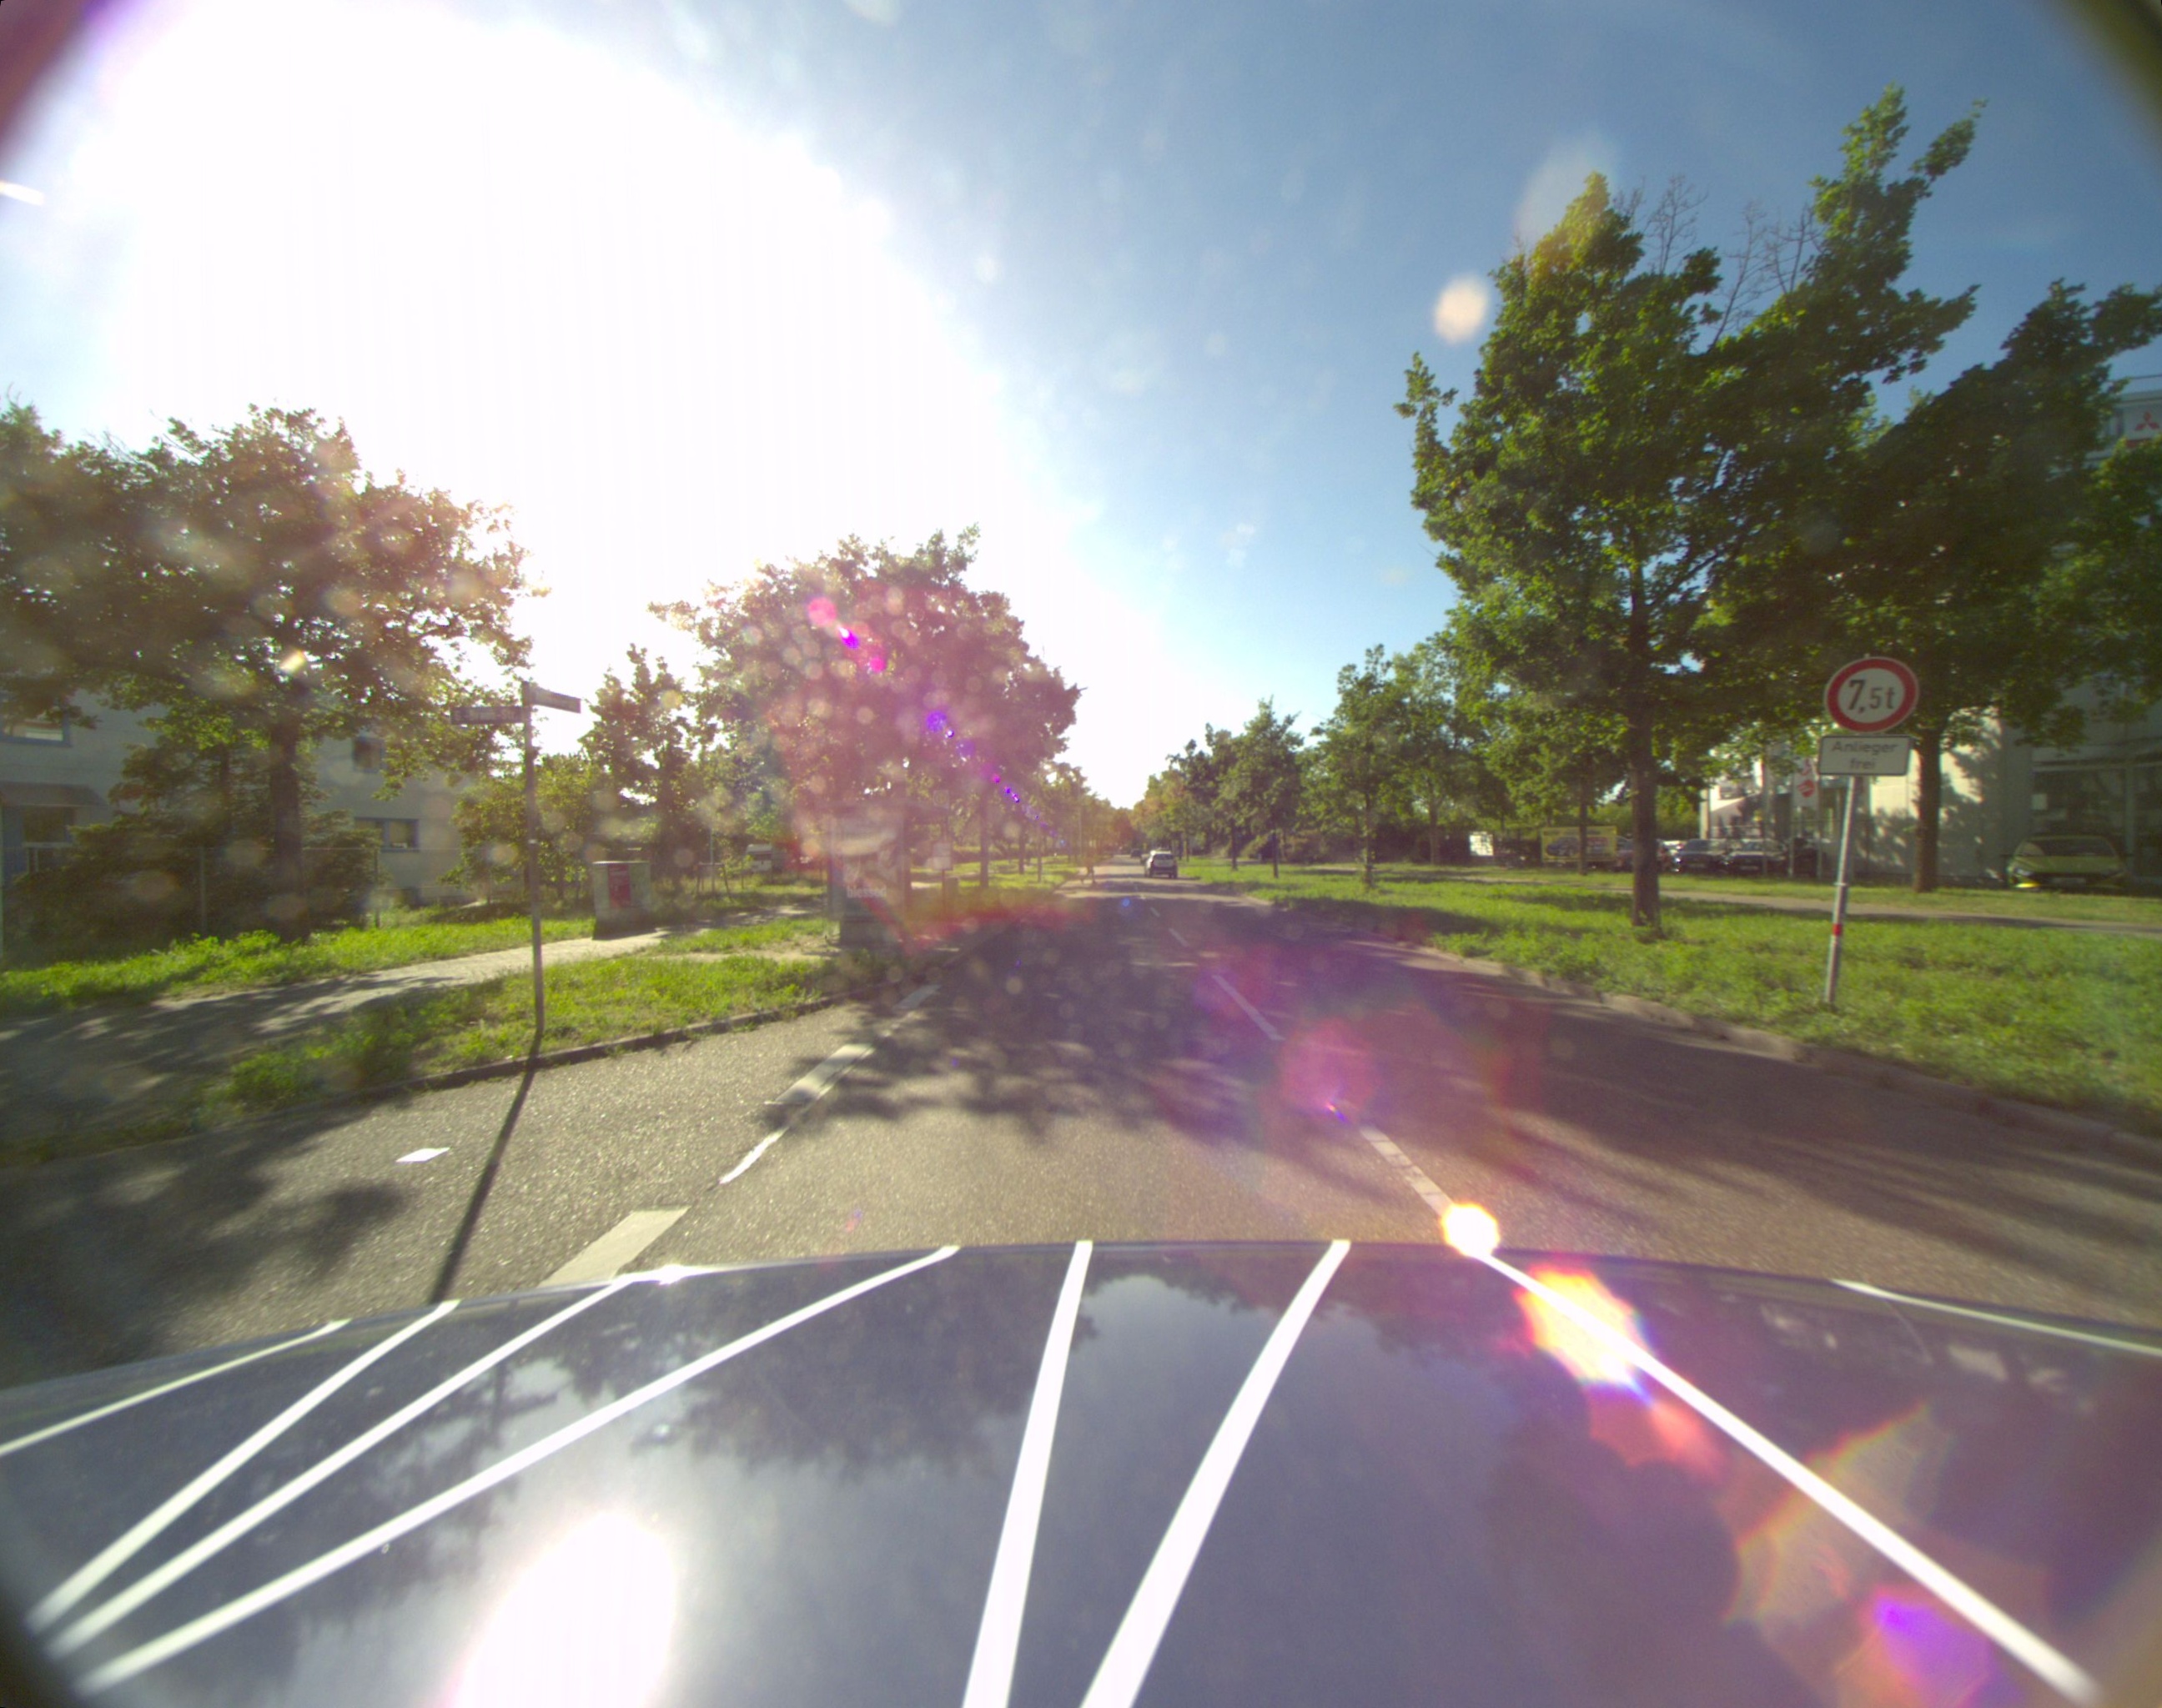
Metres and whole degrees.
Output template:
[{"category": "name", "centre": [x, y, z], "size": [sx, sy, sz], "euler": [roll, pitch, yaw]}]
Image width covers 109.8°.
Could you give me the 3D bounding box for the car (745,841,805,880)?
[{"category": "car", "centre": [-22.084, 0.441, 55.053], "size": [2.165, 2.628, 4.851], "euler": [-1, 1, 3]}]

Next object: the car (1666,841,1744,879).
[{"category": "car", "centre": [25.643, 0.208, 31.168], "size": [4.007, 1.440, 1.796], "euler": [-2, 1, -41]}]

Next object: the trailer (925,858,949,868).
[{"category": "trailer", "centre": [-14.755, 0.903, 77.918], "size": [1.581, 0.864, 2.055], "euler": [-1, 5, 15]}]

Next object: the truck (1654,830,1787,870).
[{"category": "truck", "centre": [32.175, -0.206, 38.359], "size": [4.682, 1.773, 2.027], "euler": [-3, 0, 13]}]

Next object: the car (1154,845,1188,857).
[{"category": "car", "centre": [12.955, -0.402, 110.026], "size": [4.638, 1.549, 2.191], "euler": [-3, 0, 1]}]

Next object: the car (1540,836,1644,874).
[{"category": "car", "centre": [26.682, 0.050, 39.819], "size": [4.023, 1.773, 2.027], "euler": [-3, 0, 13]}]

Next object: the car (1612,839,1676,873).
[{"category": "car", "centre": [25.809, 0.064, 34.806], "size": [1.796, 1.440, 4.008], "euler": [0, 1, 45]}]

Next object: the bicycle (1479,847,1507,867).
[{"category": "bicycle", "centre": [23.663, 0.170, 43.685], "size": [0.641, 1.081, 1.891], "euler": [-1, 1, 2]}]

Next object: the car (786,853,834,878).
[{"category": "car", "centre": [-19.442, 0.787, 54.672], "size": [2.010, 1.654, 3.597], "euler": [-1, 1, 3]}]

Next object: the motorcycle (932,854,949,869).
[{"category": "motorcycle", "centre": [-14.039, 0.718, 75.932], "size": [0.663, 1.225, 2.407], "euler": [-1, 5, 14]}]

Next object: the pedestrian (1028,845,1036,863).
[{"category": "pedestrian", "centre": [-5.006, 0.032, 77.585], "size": [0.727, 1.802, 0.867], "euler": [-1, 1, 2]}]

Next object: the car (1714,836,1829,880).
[{"category": "car", "centre": [25.388, 0.141, 27.913], "size": [4.005, 1.502, 1.797], "euler": [-1, 0, -27]}]

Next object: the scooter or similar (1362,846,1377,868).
[{"category": "scooter or similar", "centre": [16.987, 0.145, 44.717], "size": [0.396, 1.272, 1.441], "euler": [-1, 1, 3]}]

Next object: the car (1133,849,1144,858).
[{"category": "car", "centre": [9.982, -0.144, 131.706], "size": [1.809, 1.528, 4.495], "euler": [0, 0, 2]}]

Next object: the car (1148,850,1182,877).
[{"category": "car", "centre": [4.779, 0.511, 43.858], "size": [1.748, 1.456, 4.428], "euler": [0, 0, 4]}]

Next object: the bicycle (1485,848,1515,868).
[{"category": "bicycle", "centre": [23.298, 0.218, 42.292], "size": [0.641, 1.081, 1.891], "euler": [-1, 1, 2]}]

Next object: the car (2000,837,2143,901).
[{"category": "car", "centre": [24.270, 0.302, 18.752], "size": [3.961, 1.393, 1.994], "euler": [-2, 1, -39]}]

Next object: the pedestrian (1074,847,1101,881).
[{"category": "pedestrian", "centre": [0.344, 0.503, 37.735], "size": [1.020, 1.642, 1.101], "euler": [-1, 1, 18]}]

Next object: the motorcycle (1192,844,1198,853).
[{"category": "motorcycle", "centre": [19.569, -0.955, 130.315], "size": [0.739, 1.424, 1.991], "euler": [-5, 0, 5]}]

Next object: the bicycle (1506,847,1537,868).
[{"category": "bicycle", "centre": [24.284, 0.177, 41.947], "size": [0.641, 1.081, 1.891], "euler": [-1, 1, 2]}]

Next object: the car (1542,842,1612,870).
[{"category": "car", "centre": [28.003, 0.087, 43.044], "size": [1.798, 1.440, 4.002], "euler": [-1, 1, 9]}]

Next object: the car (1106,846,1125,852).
[{"category": "car", "centre": [8.451, -1.229, 187.680], "size": [4.509, 1.471, 1.942], "euler": [-1, 1, 6]}]
